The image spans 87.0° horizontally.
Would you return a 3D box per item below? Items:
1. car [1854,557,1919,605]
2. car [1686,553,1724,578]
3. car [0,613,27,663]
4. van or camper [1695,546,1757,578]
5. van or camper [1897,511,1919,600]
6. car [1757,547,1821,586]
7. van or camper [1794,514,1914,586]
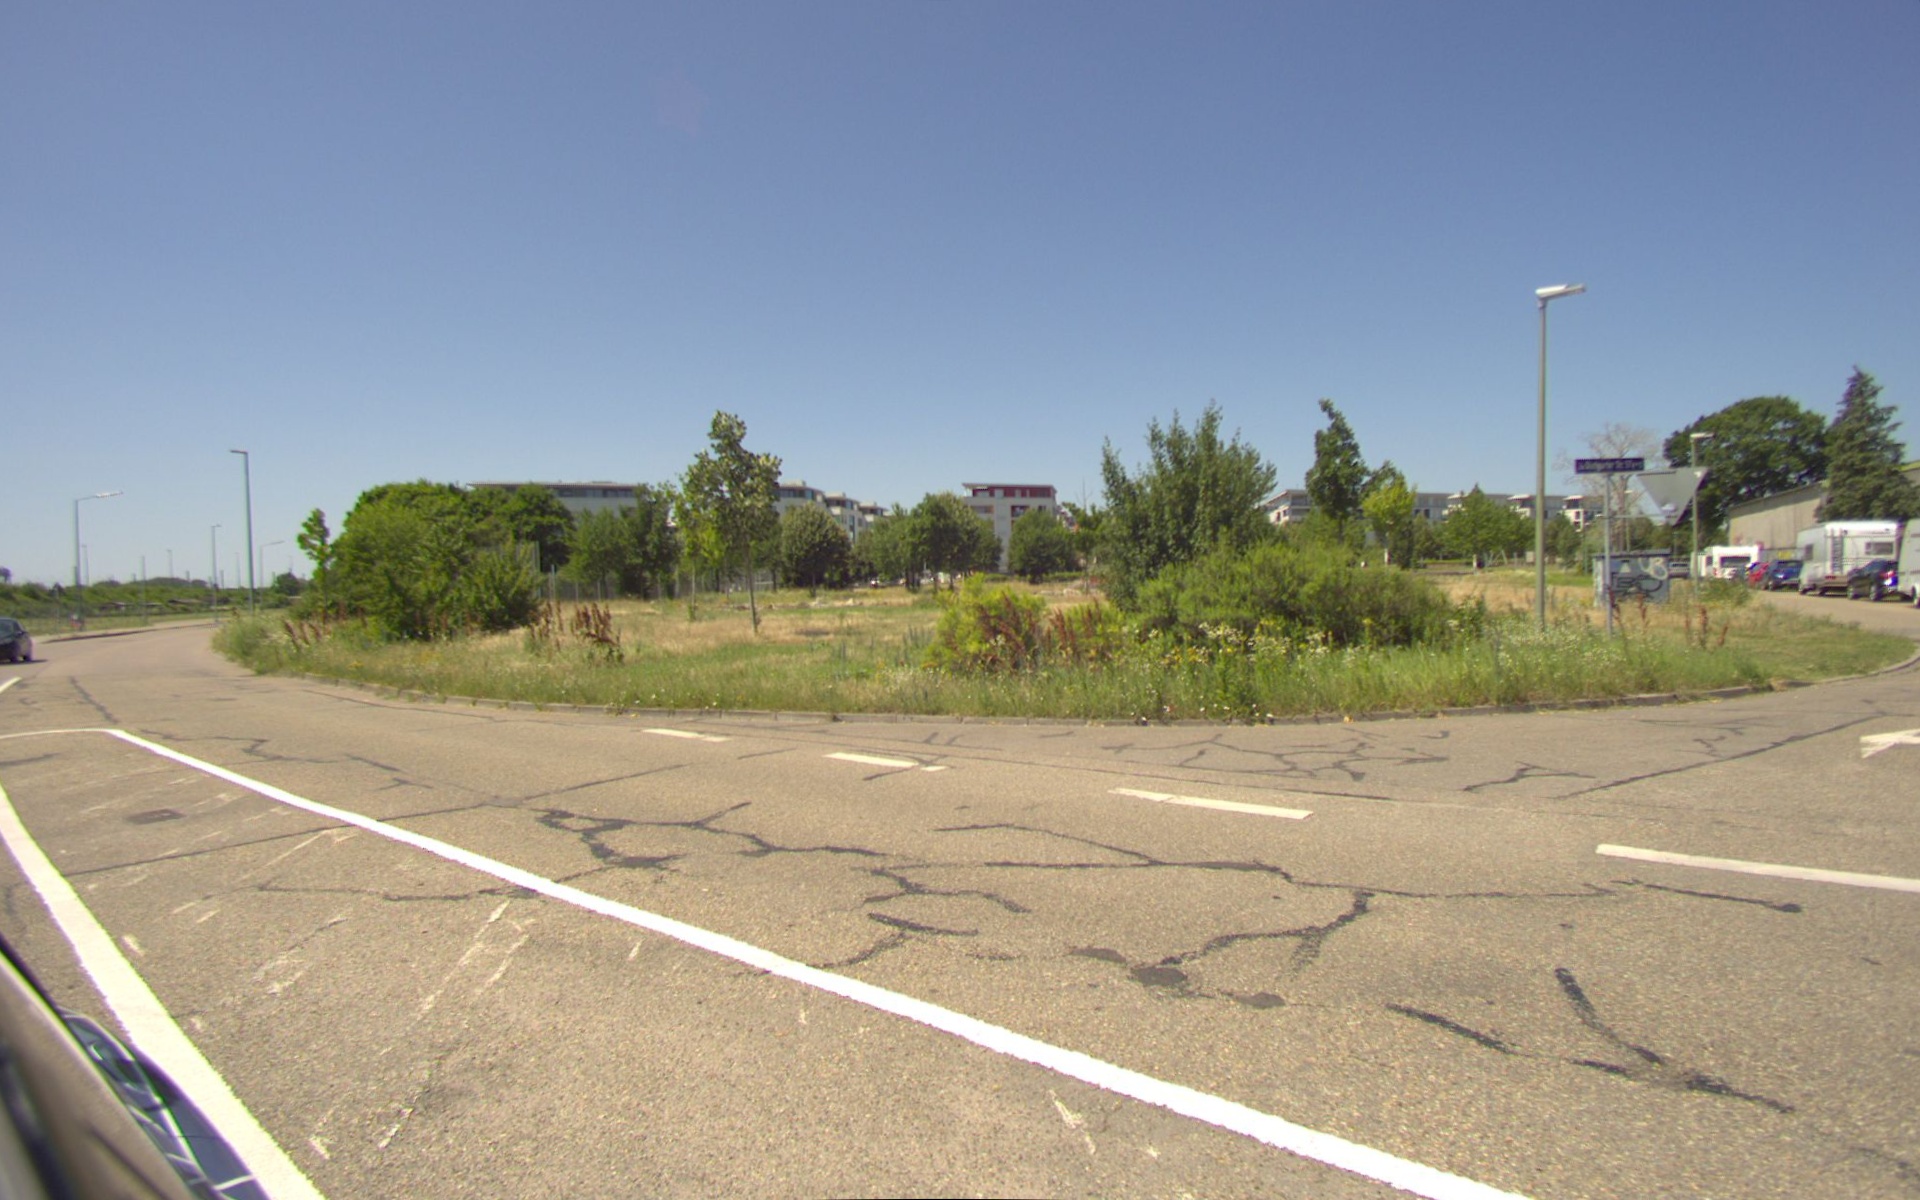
[{"bbox_3d":[33.172,-0.697,35.673,1.910,1.563,3.955,-1,1,34],"label":"car"},{"bbox_3d":[56.409,-2.639,76.689,1.749,1.785,3.546,-1,1,28],"label":"car"},{"bbox_3d":[-30.262,1.162,31.313,1.628,1.477,4.168,-2,1,-37],"label":"car"},{"bbox_3d":[49.112,-2.414,64.993,2.347,1.894,5.011,-1,1,28],"label":"van or camper"},{"bbox_3d":[29.157,-1.328,29.005,2.484,2.610,4.420,-1,3,31],"label":"van or camper"},{"bbox_3d":[40.678,-1.635,49.730,1.749,1.785,3.546,-1,1,28],"label":"car"},{"bbox_3d":[36.310,-1.986,41.309,2.462,2.613,5.909,-1,1,30],"label":"van or camper"}]
